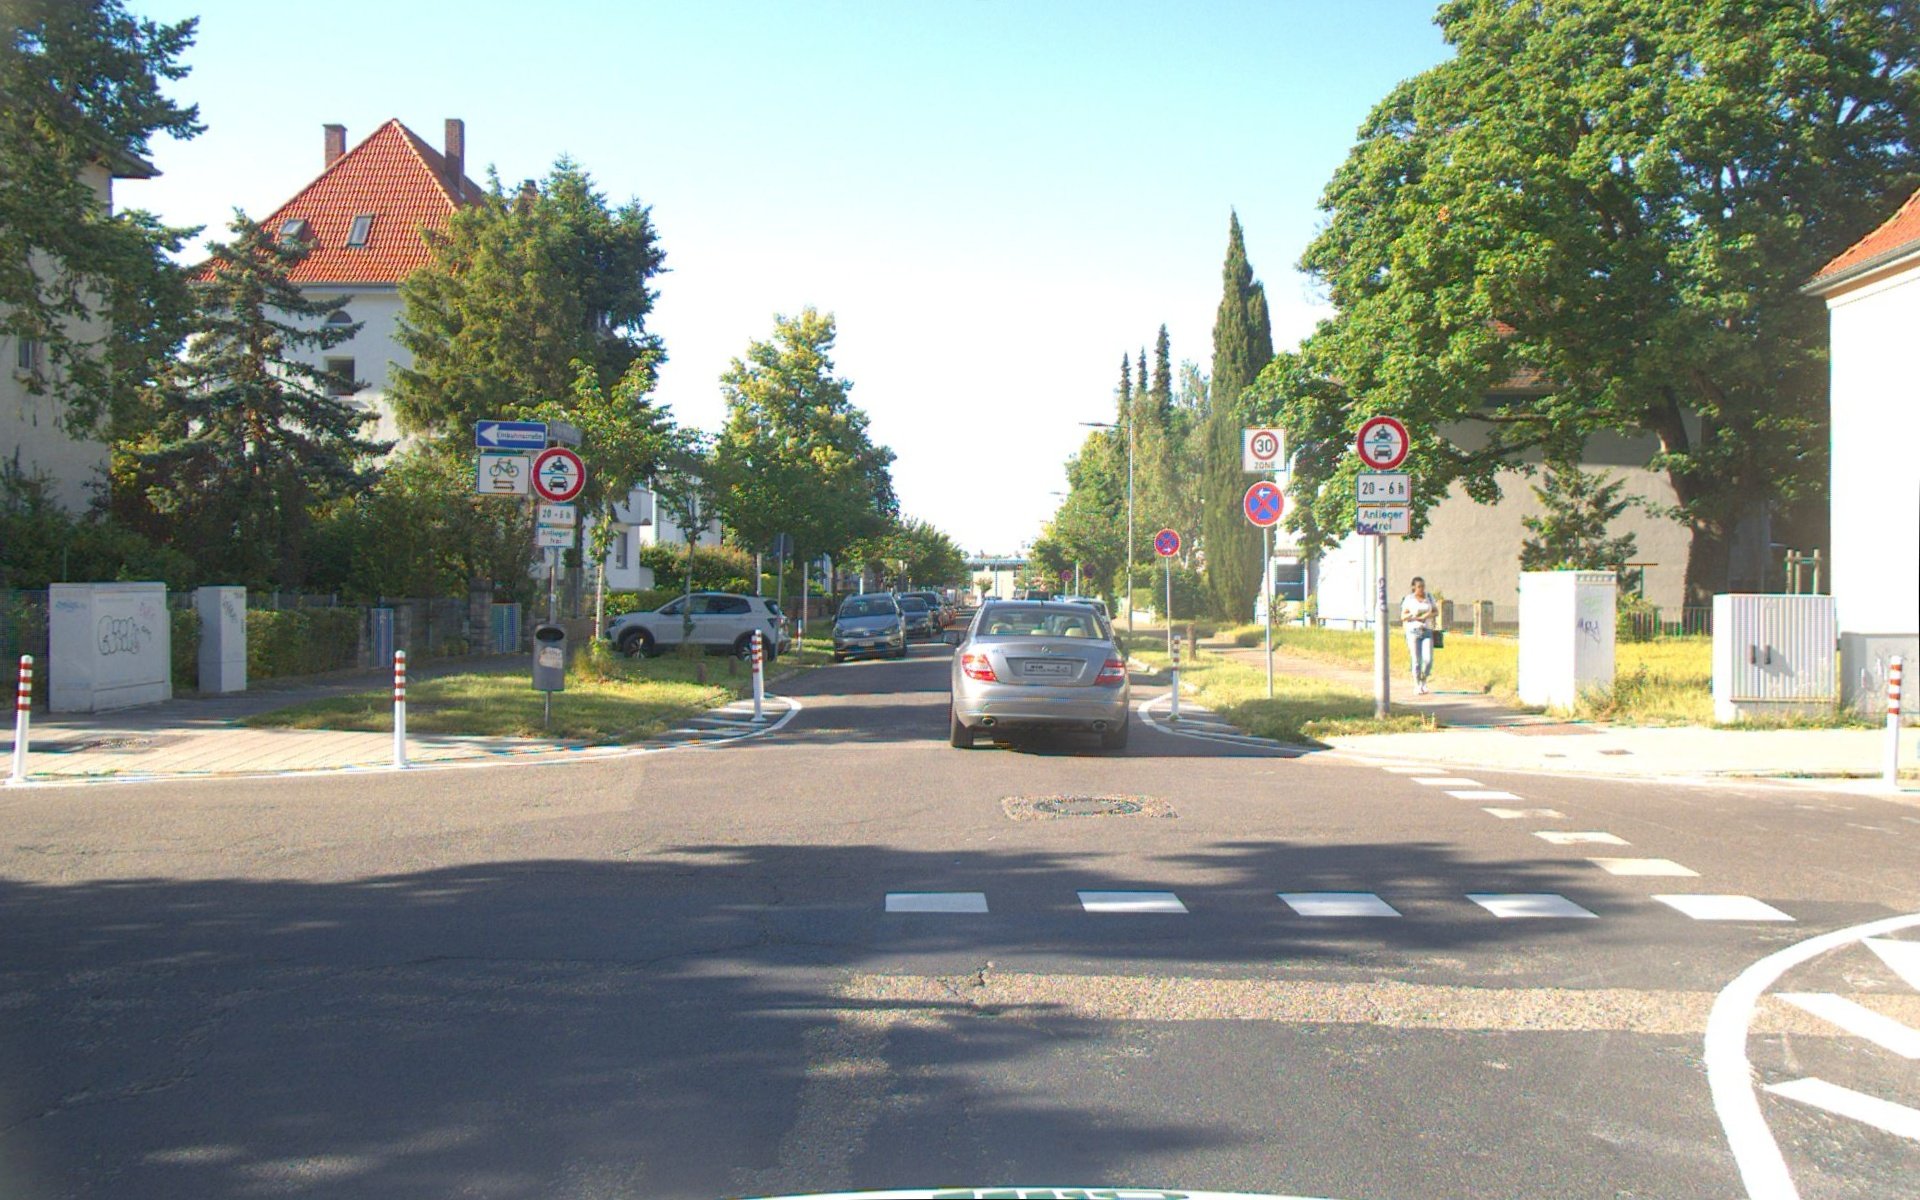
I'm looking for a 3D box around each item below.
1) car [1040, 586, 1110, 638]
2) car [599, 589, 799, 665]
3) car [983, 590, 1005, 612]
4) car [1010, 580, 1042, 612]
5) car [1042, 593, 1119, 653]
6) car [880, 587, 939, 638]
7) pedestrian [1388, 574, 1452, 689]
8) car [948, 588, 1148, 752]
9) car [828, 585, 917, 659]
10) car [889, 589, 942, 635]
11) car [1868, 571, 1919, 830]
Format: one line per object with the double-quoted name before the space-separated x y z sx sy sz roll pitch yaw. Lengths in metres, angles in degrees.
"car" 3.736 0.357 54.183 1.953 1.638 3.999 0 0 -1
"car" -5.662 0.573 36.263 4.107 1.591 1.841 1 0 -2
"car" 2.597 0.069 127.897 1.564 1.638 3.643 0 0 -1
"car" 3.941 -0.229 99.286 1.816 1.873 4.000 0 0 1
"car" 3.137 0.567 43.594 1.698 1.505 3.725 0 0 -1
"car" -1.782 0.411 59.173 1.953 1.637 3.999 -3 0 -1
"pedestrian" 6.653 0.444 23.946 0.750 1.639 0.835 0 0 6
"car" 0.875 0.625 17.010 1.798 1.466 4.001 1 0 2
"car" -2.134 0.517 41.363 1.953 1.637 3.999 -3 0 -1
"car" -1.716 0.444 64.967 1.953 1.637 3.999 -3 0 -1
"car" 8.133 0.630 10.091 4.145 1.636 1.889 0 0 2
